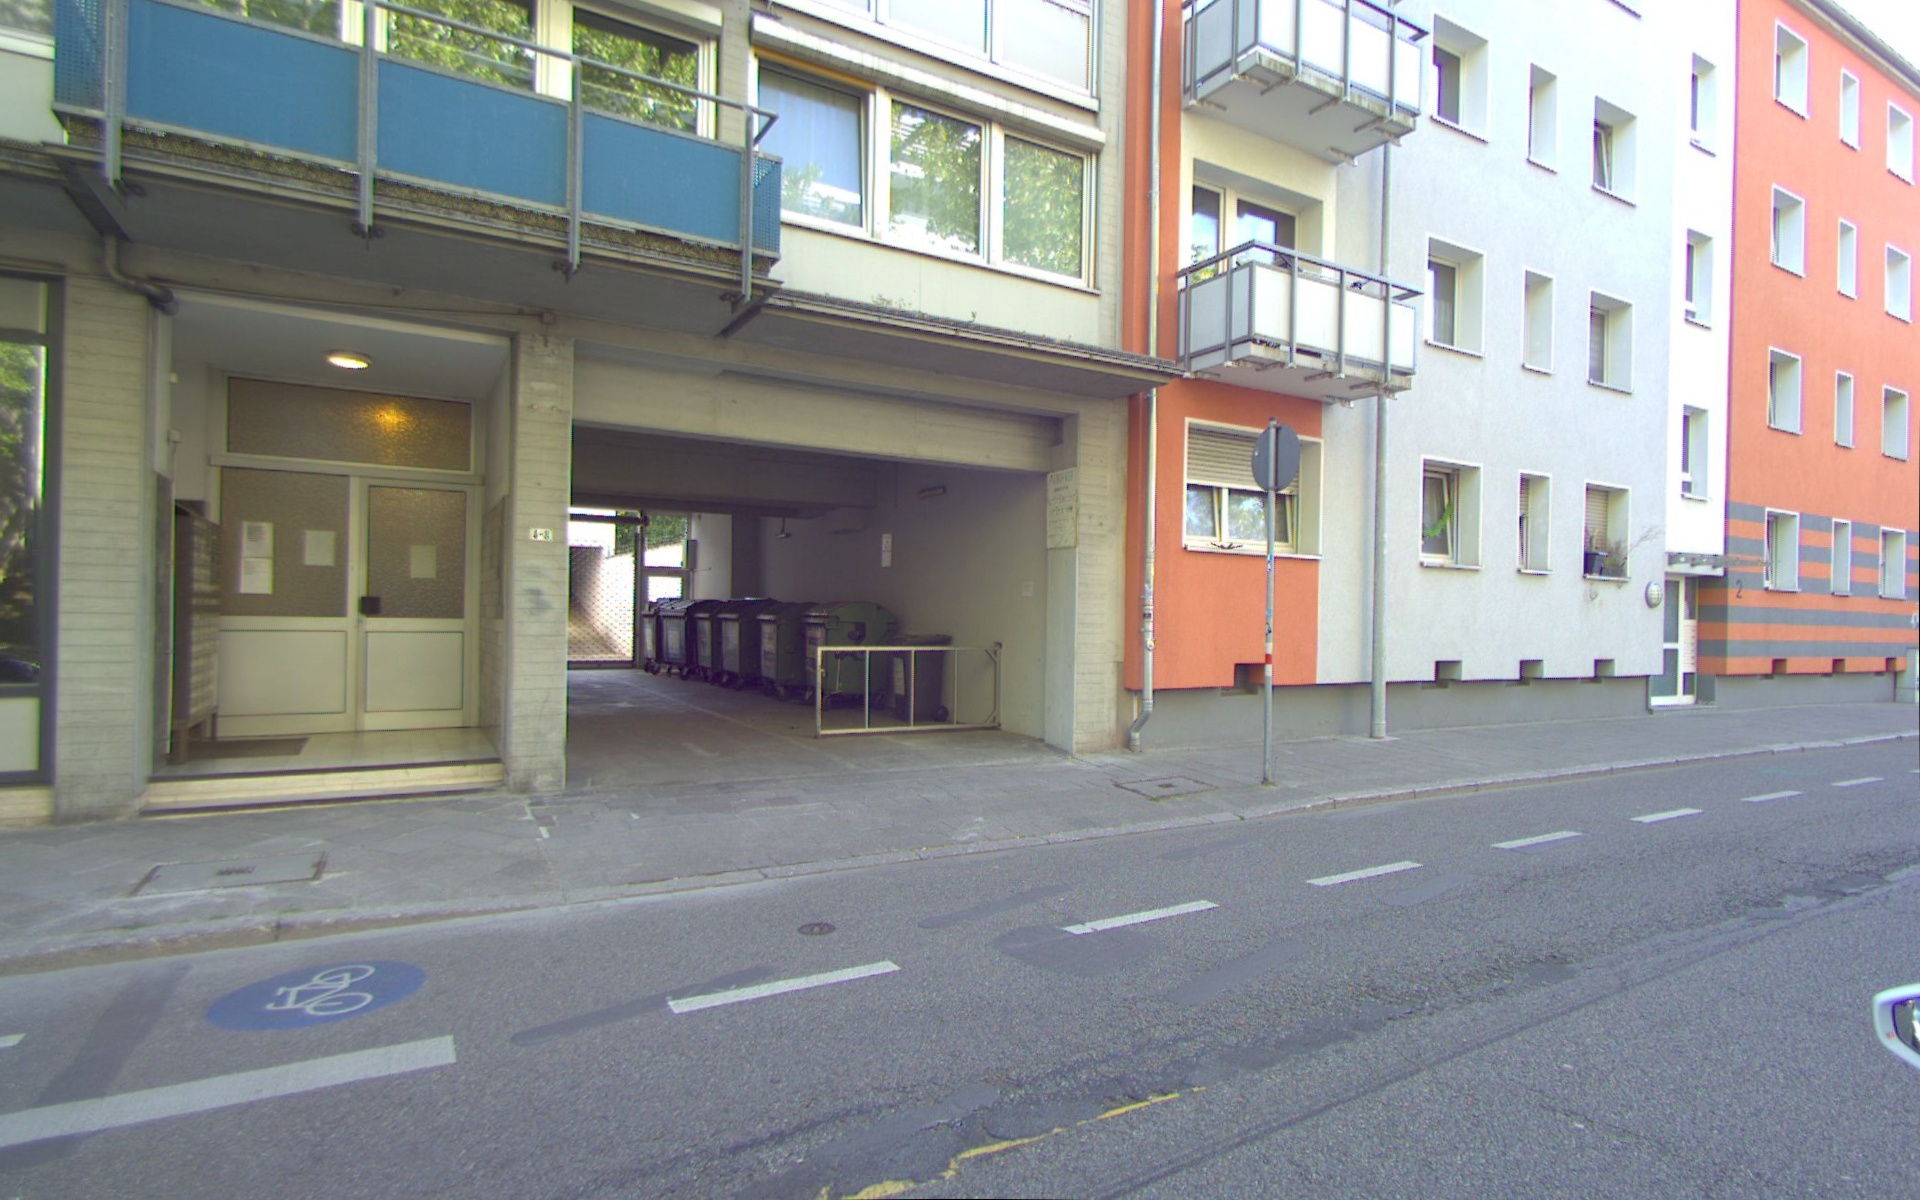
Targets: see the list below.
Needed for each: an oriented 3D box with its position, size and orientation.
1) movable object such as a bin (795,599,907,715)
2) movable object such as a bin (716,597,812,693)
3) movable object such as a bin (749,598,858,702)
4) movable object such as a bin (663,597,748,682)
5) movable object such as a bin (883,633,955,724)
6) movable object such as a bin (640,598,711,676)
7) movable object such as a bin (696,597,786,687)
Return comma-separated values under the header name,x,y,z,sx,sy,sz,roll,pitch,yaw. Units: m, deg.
name,x,y,z,sx,sy,sz,roll,pitch,yaw
movable object such as a bin,-1.512,0.754,13.821,1.128,1.484,1.255,2,0,-28
movable object such as a bin,-3.275,0.724,16.710,1.264,1.506,1.155,2,0,-28
movable object such as a bin,-2.378,0.733,15.174,1.264,1.493,1.265,2,-1,-28
movable object such as a bin,-4.742,0.718,18.702,1.264,1.506,1.155,2,0,-28
movable object such as a bin,-0.513,0.959,12.468,0.694,1.061,0.567,2,0,-28
movable object such as a bin,-5.661,0.728,19.957,1.128,1.484,1.129,2,0,-28
movable object such as a bin,-3.878,0.726,17.758,1.264,1.515,1.155,2,0,-28
